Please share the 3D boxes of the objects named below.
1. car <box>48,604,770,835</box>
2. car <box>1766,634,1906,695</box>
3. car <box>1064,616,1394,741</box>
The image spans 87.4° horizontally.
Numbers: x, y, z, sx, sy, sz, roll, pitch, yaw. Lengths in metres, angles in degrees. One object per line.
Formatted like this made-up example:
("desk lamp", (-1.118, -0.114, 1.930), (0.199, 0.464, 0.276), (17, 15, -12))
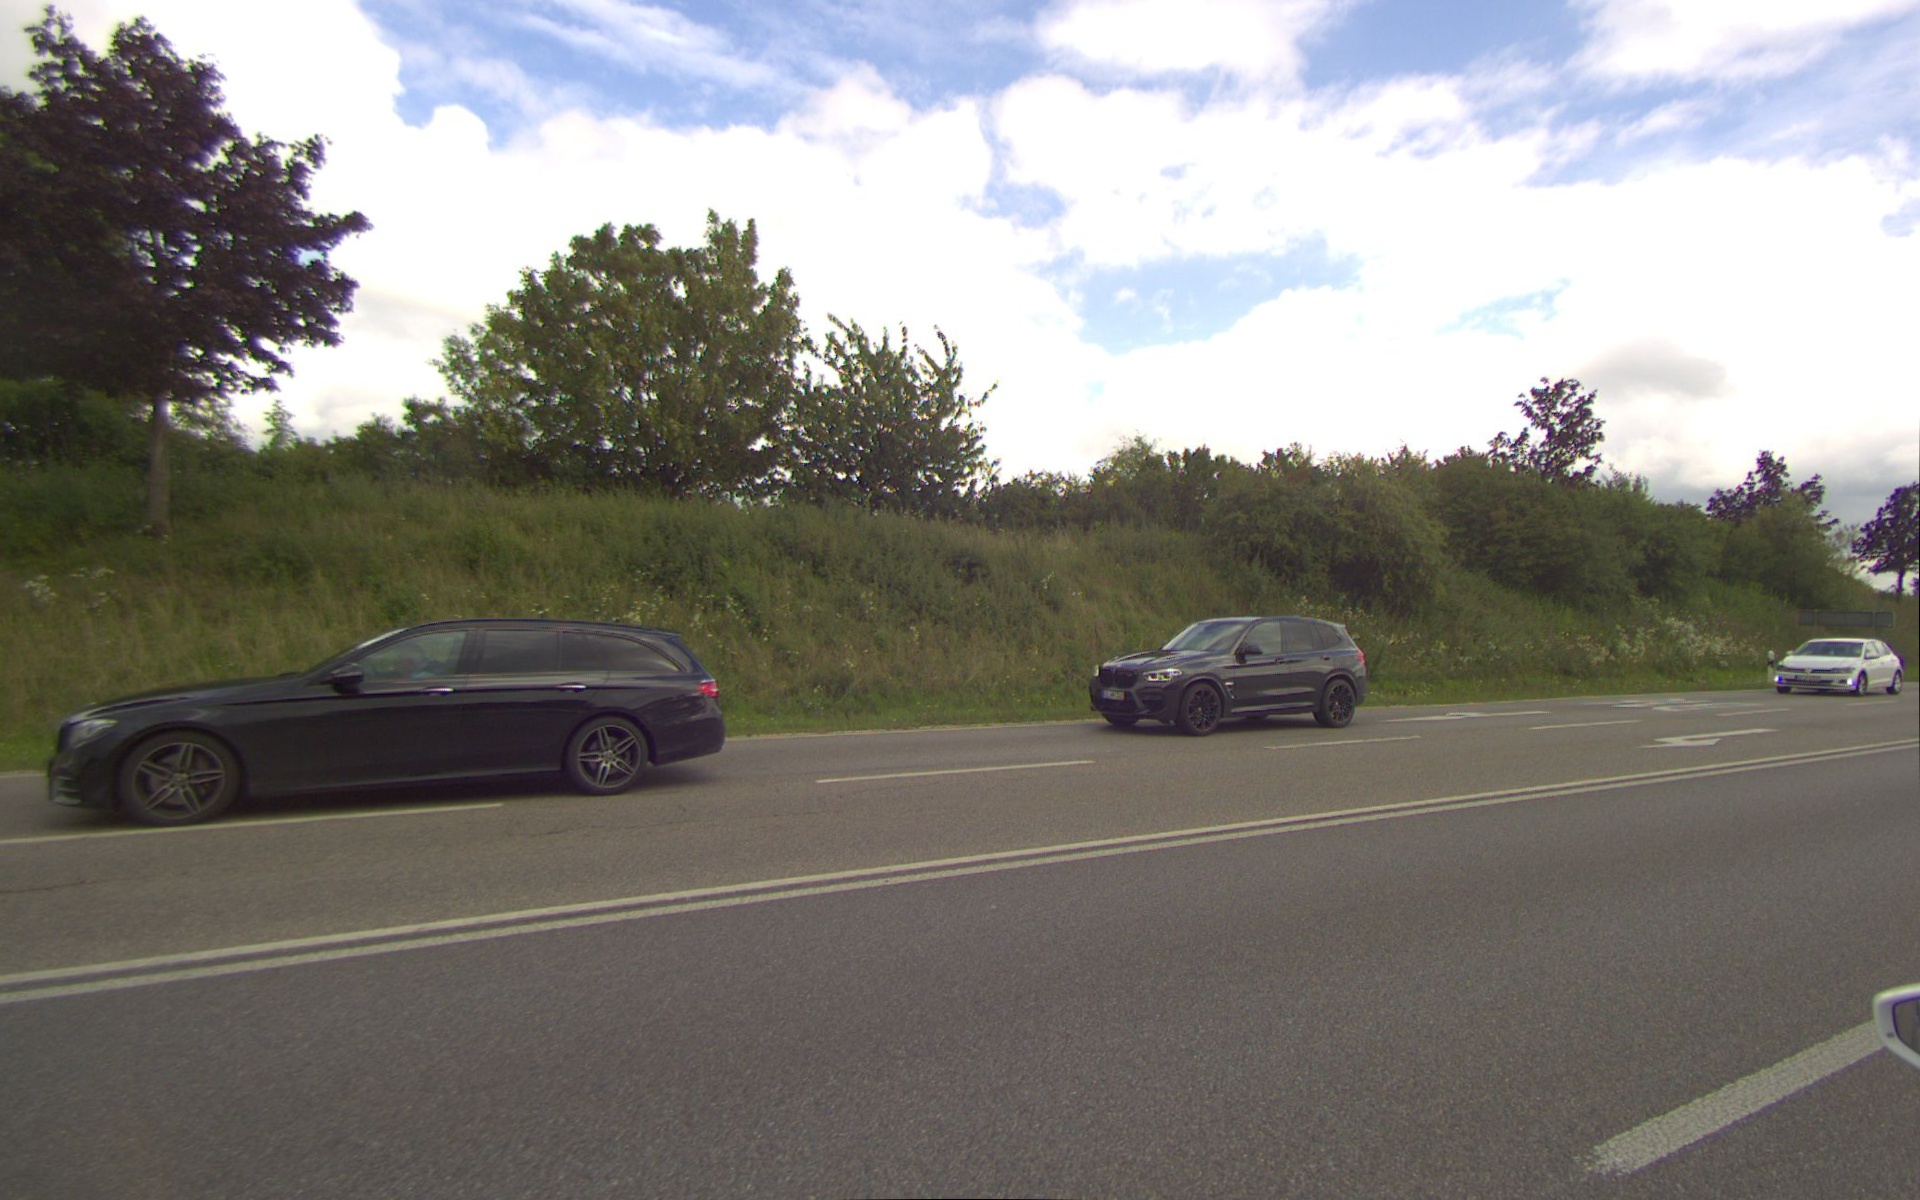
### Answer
("car", (-4.346, 0.856, 8.727), (4.934, 1.514, 1.984), (2, -1, -30))
("car", (22.980, 1.647, 26.313), (4.100, 1.461, 1.659), (2, -1, -32))
("car", (4.168, 1.101, 15.325), (4.934, 1.632, 1.984), (2, -1, -30))
